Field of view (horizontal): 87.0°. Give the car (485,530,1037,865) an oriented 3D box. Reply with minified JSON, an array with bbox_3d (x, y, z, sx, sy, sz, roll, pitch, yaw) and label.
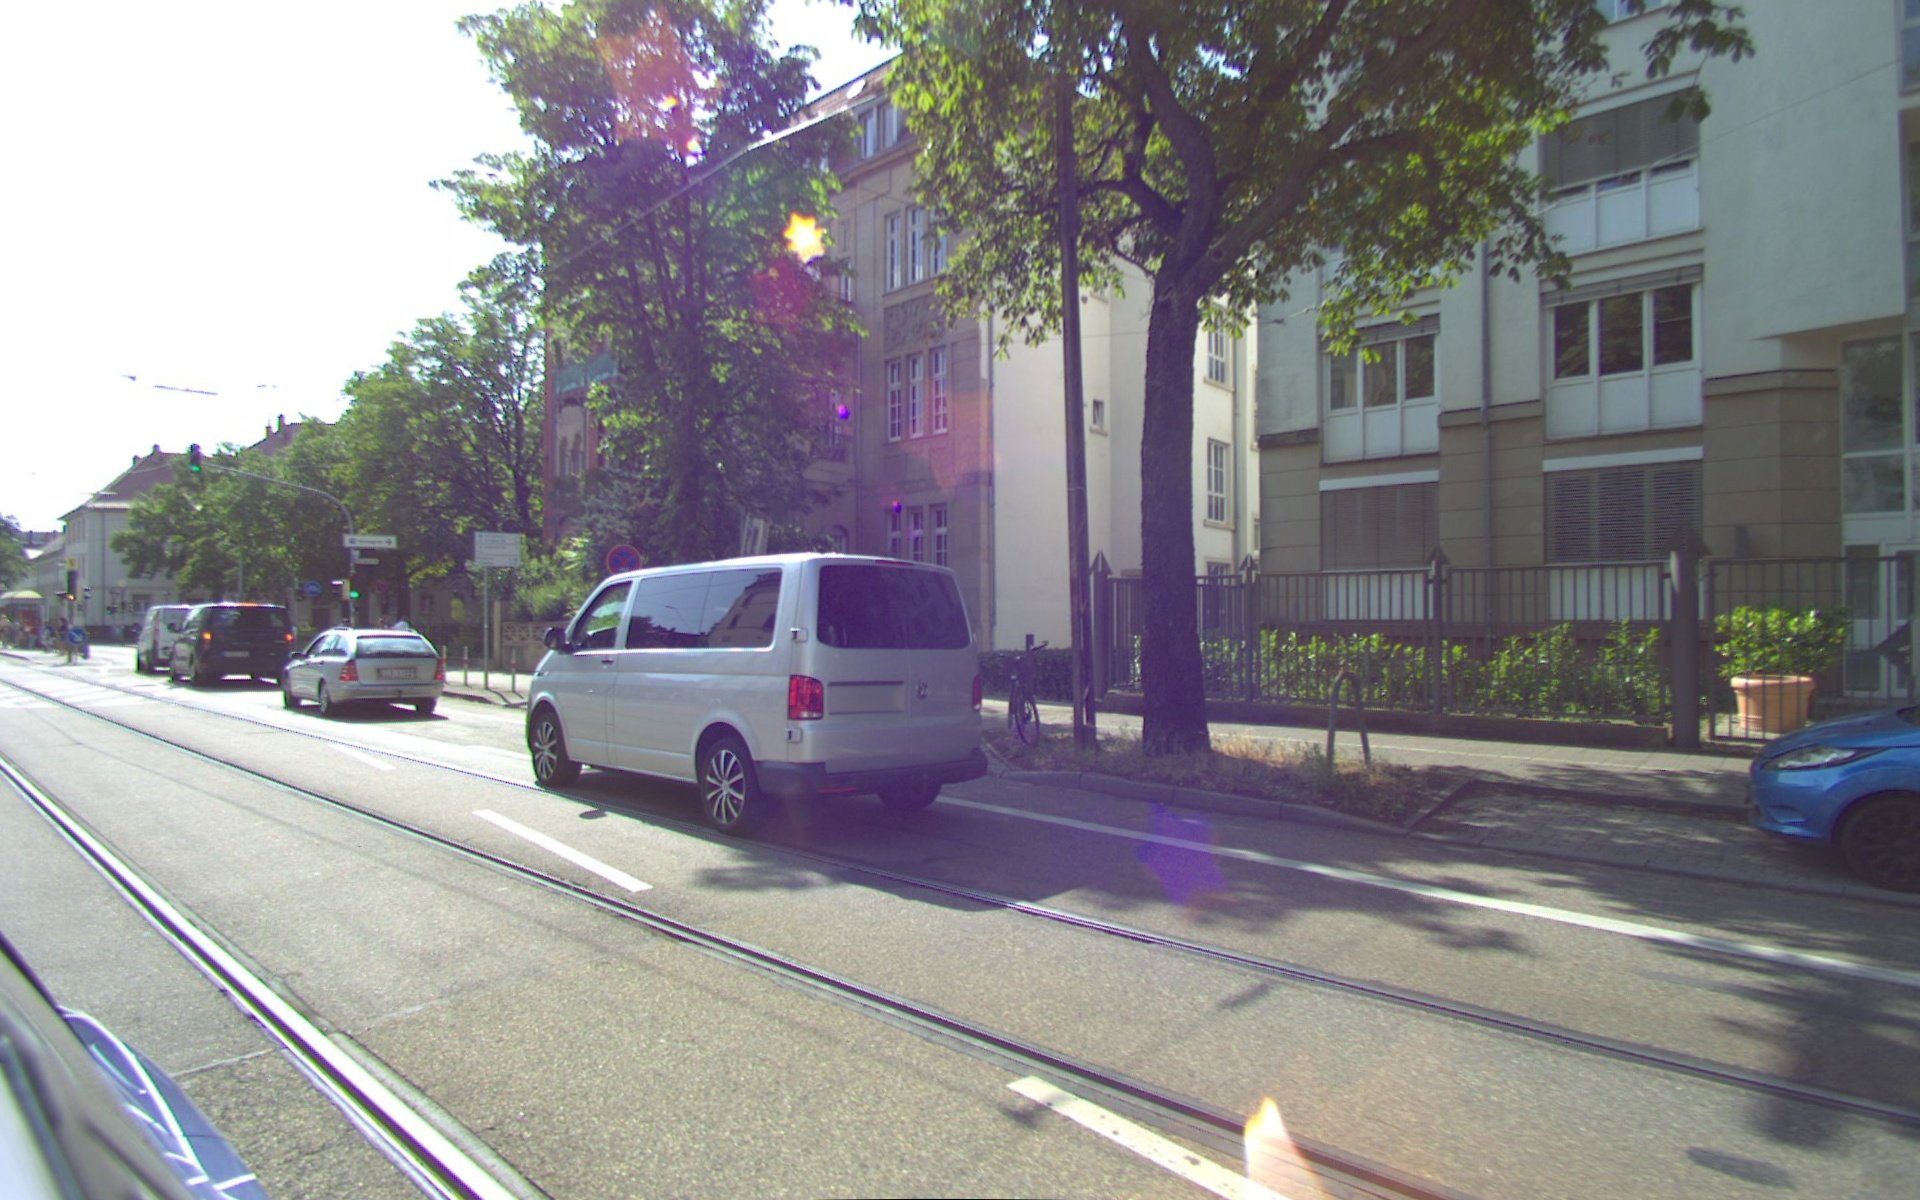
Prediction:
[{"bbox_3d":[-1.967,0.653,8.515,5.181,1.978,1.964,-2,-3,44],"label":"car"}]

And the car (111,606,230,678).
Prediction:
[{"bbox_3d":[-23.969,1.213,30.655,5.088,2.010,1.972,-1,-2,42],"label":"car"}]

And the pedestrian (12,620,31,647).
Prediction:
[{"bbox_3d":[-48.807,1.752,52.641,0.405,1.347,0.598,0,-3,36],"label":"pedestrian"}]

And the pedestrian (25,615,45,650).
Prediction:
[{"bbox_3d":[-45.673,1.609,49.985,0.746,1.669,0.467,-1,-8,41],"label":"pedestrian"}]

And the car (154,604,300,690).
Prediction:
[{"bbox_3d":[-18.404,1.141,25.312,5.123,1.932,1.906,-1,-4,43],"label":"car"}]

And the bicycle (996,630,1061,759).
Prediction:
[{"bbox_3d":[0.777,1.060,12.046,0.612,1.319,2.057,-1,0,0],"label":"bicycle"}]

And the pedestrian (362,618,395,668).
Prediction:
[{"bbox_3d":[-20.486,1.502,35.645,0.845,1.711,0.618,-1,1,29],"label":"pedestrian"}]

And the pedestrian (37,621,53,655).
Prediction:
[{"bbox_3d":[-41.611,1.736,46.008,0.703,1.515,0.423,-1,-3,41],"label":"pedestrian"}]

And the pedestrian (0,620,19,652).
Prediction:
[{"bbox_3d":[-51.557,1.952,54.844,0.638,1.654,0.648,-1,-4,41],"label":"pedestrian"}]

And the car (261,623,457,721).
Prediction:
[{"bbox_3d":[-10.603,1.180,17.712,4.481,1.491,1.674,-1,-3,42],"label":"car"}]

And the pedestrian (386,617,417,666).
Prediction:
[{"bbox_3d":[-19.436,1.438,35.240,0.722,1.669,0.607,-2,0,28],"label":"pedestrian"}]

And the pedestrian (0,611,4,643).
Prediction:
[{"bbox_3d":[-50.253,1.398,52.678,0.677,1.682,0.492,0,-3,36],"label":"pedestrian"}]

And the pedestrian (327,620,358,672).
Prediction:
[{"bbox_3d":[-20.351,1.498,33.349,0.749,1.669,0.516,-1,1,28],"label":"pedestrian"}]

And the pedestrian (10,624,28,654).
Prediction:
[{"bbox_3d":[-47.073,1.956,50.606,0.691,1.468,0.523,-1,-3,40],"label":"pedestrian"}]

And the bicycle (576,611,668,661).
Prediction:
[{"bbox_3d":[-7.136,0.754,21.329,1.859,0.940,0.988,-2,2,40],"label":"bicycle"}]

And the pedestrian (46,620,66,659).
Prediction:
[{"bbox_3d":[-36.545,1.595,40.930,0.516,1.554,0.531,-4,-4,41],"label":"pedestrian"}]

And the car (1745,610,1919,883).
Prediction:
[{"bbox_3d":[6.976,0.845,5.599,4.083,1.530,1.533,-1,1,41],"label":"car"}]

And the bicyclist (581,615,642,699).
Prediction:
[{"bbox_3d":[-7.272,1.167,21.144,0.701,1.657,0.941,-1,1,40],"label":"bicyclist"}]
